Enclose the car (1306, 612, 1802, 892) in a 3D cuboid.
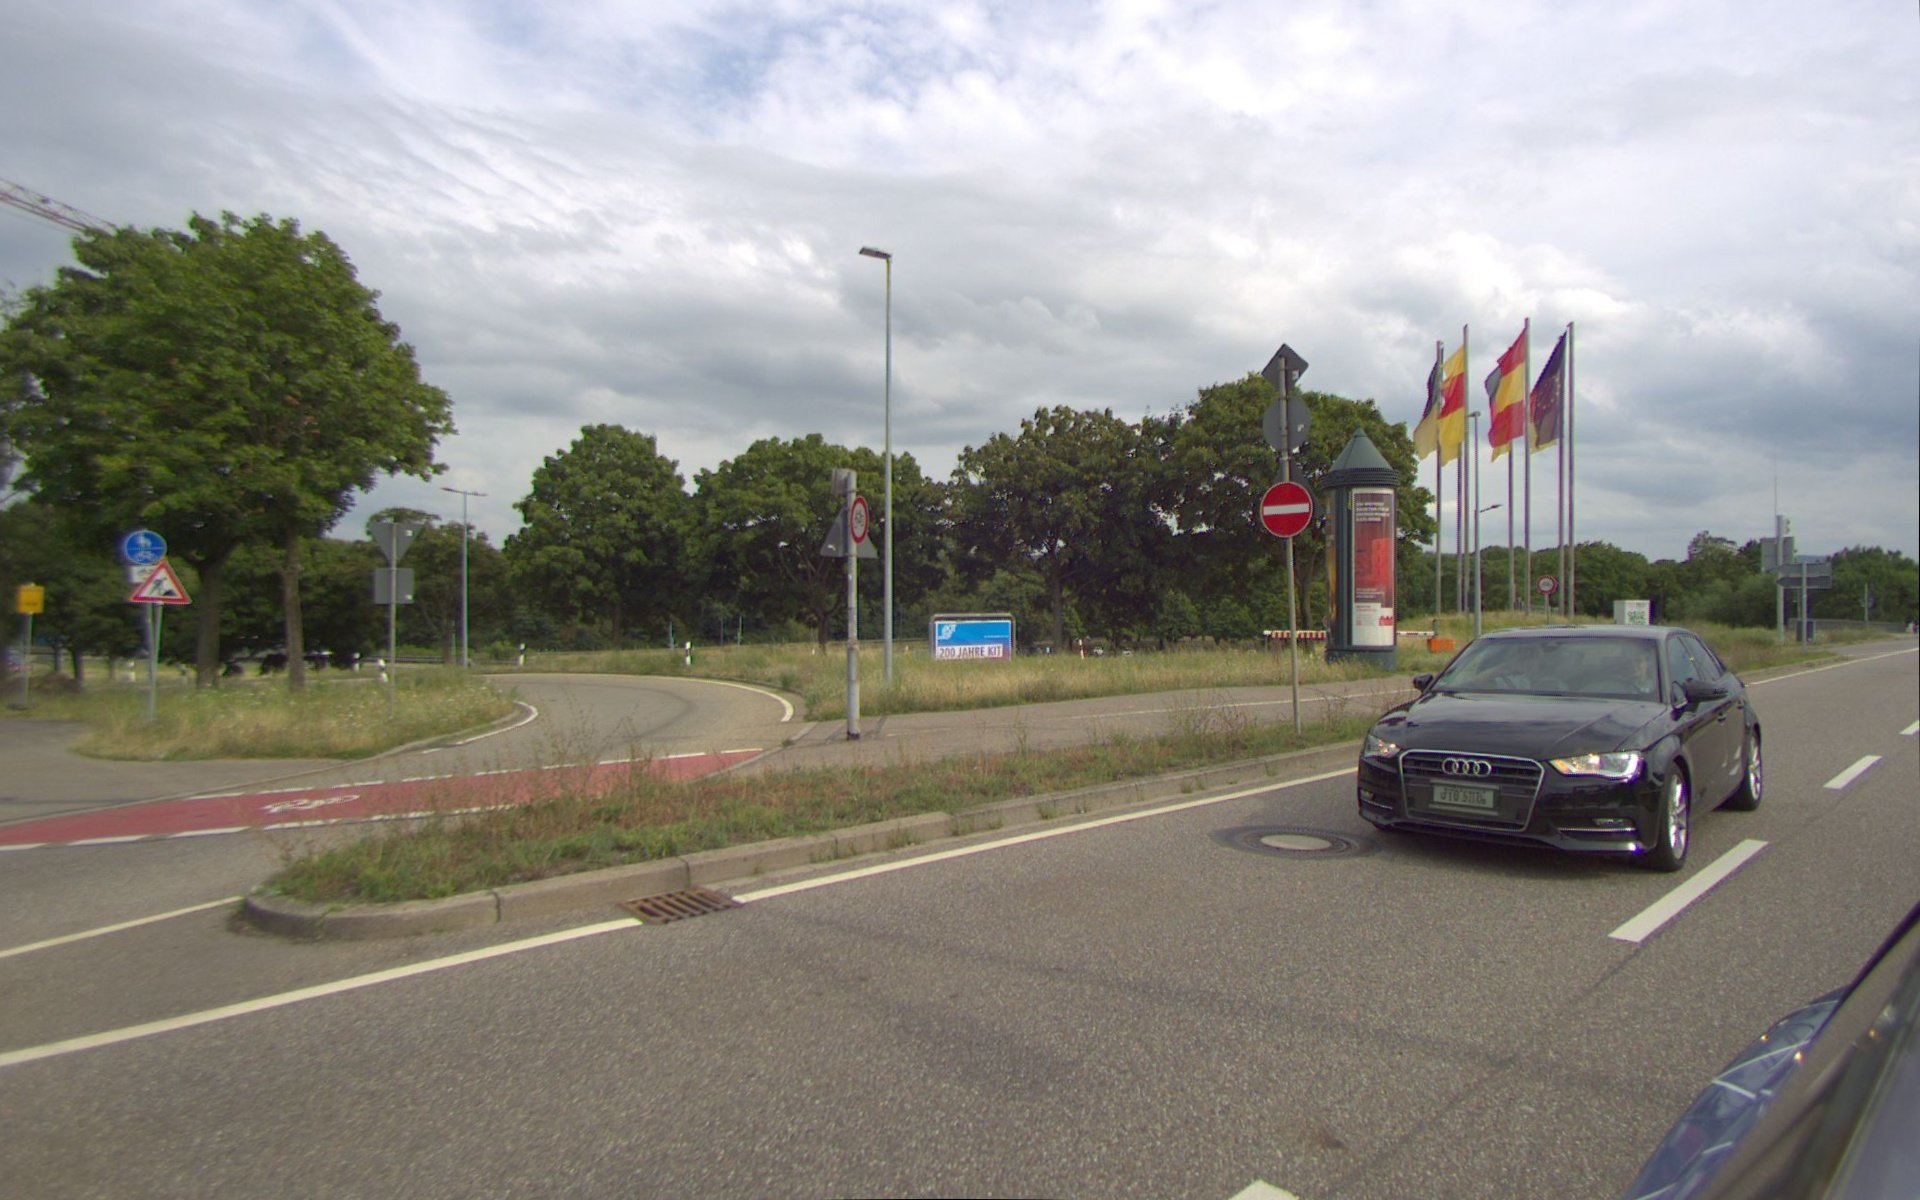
[{"bbox_3d":[4.512,0.803,7.315,4.650,1.381,1.849,1,-2,-43],"label":"car"}]
